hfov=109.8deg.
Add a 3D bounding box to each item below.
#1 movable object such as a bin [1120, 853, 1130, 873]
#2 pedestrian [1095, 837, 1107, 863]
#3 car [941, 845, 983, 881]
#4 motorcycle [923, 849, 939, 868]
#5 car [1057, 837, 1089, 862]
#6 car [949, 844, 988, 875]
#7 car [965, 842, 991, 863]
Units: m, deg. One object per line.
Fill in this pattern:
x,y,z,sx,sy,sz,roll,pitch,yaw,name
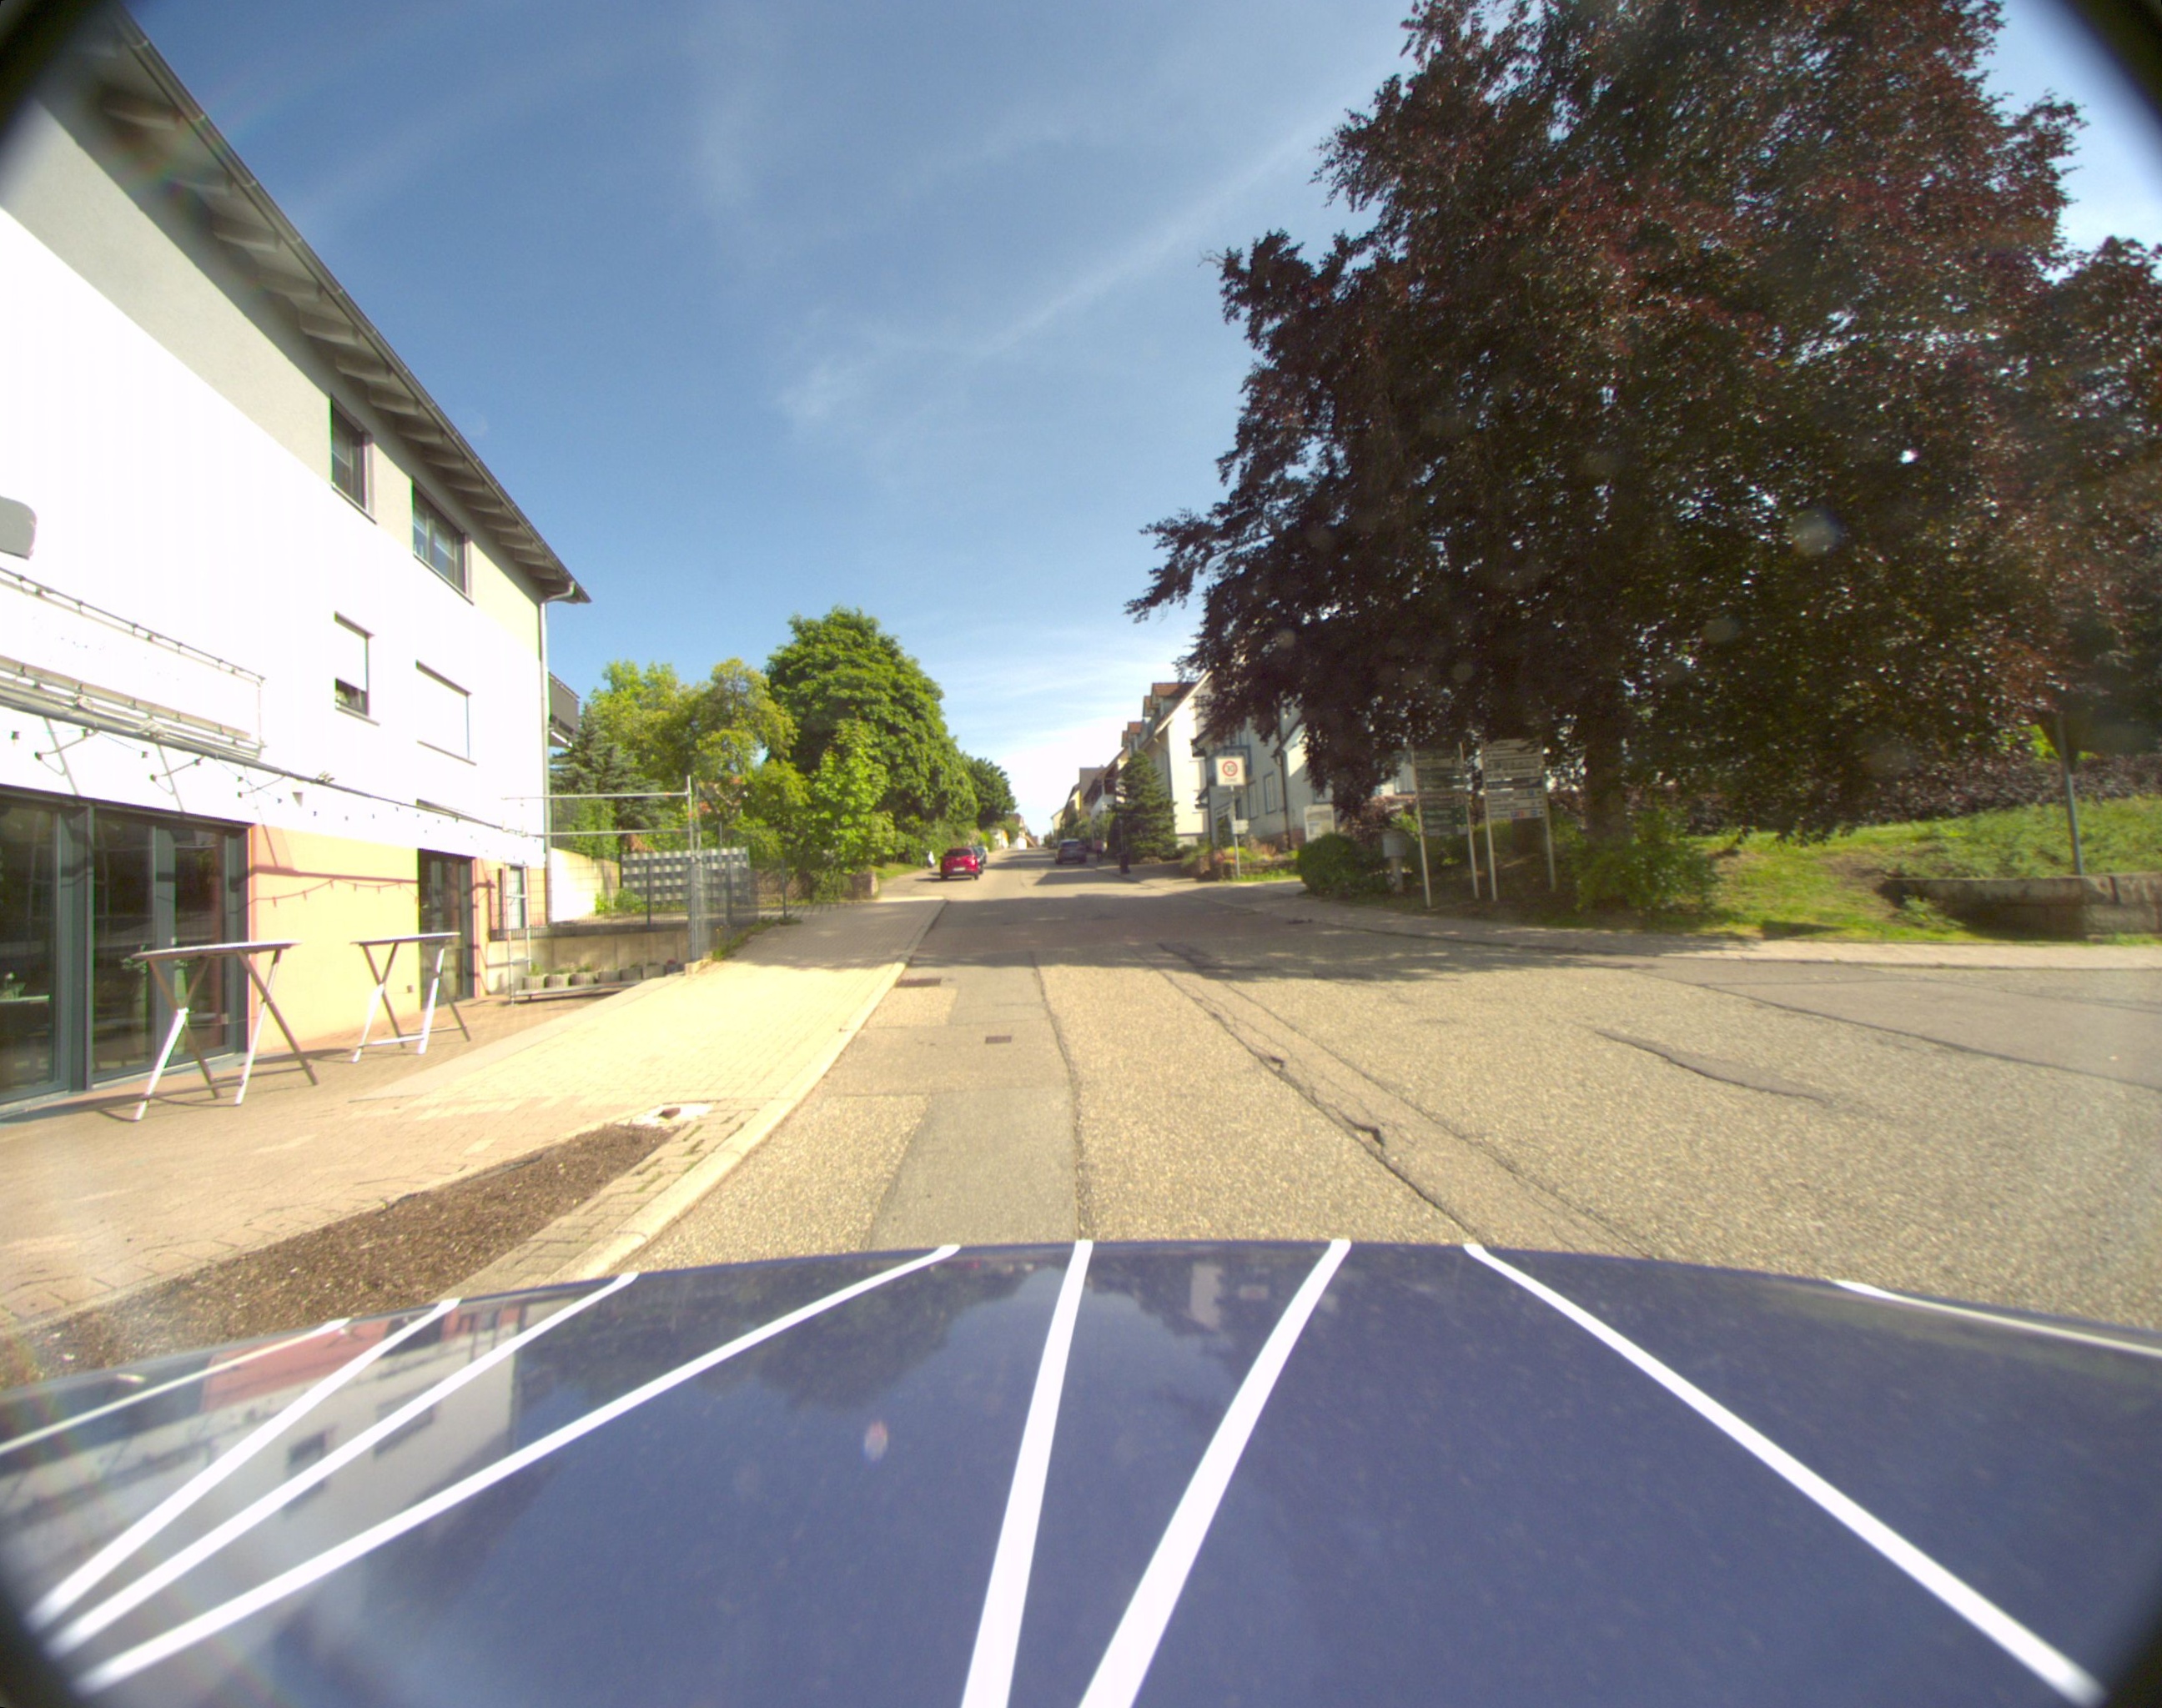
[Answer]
1.891,0.391,32.995,0.351,0.859,0.395,-2,1,-5,movable object such as a bin
1.216,-0.261,46.983,0.668,1.566,0.780,-2,2,1,pedestrian
-5.467,0.383,35.198,1.624,1.489,3.808,-3,1,-5,car
-9.822,0.271,49.814,0.785,1.175,2.186,-2,1,-7,motorcycle
-0.593,-0.305,51.979,1.808,1.592,3.808,-3,1,-5,car
-5.987,0.255,40.793,1.776,1.462,3.808,-3,1,-5,car
-8.000,-0.131,59.196,1.776,1.462,3.808,-3,1,-5,car
